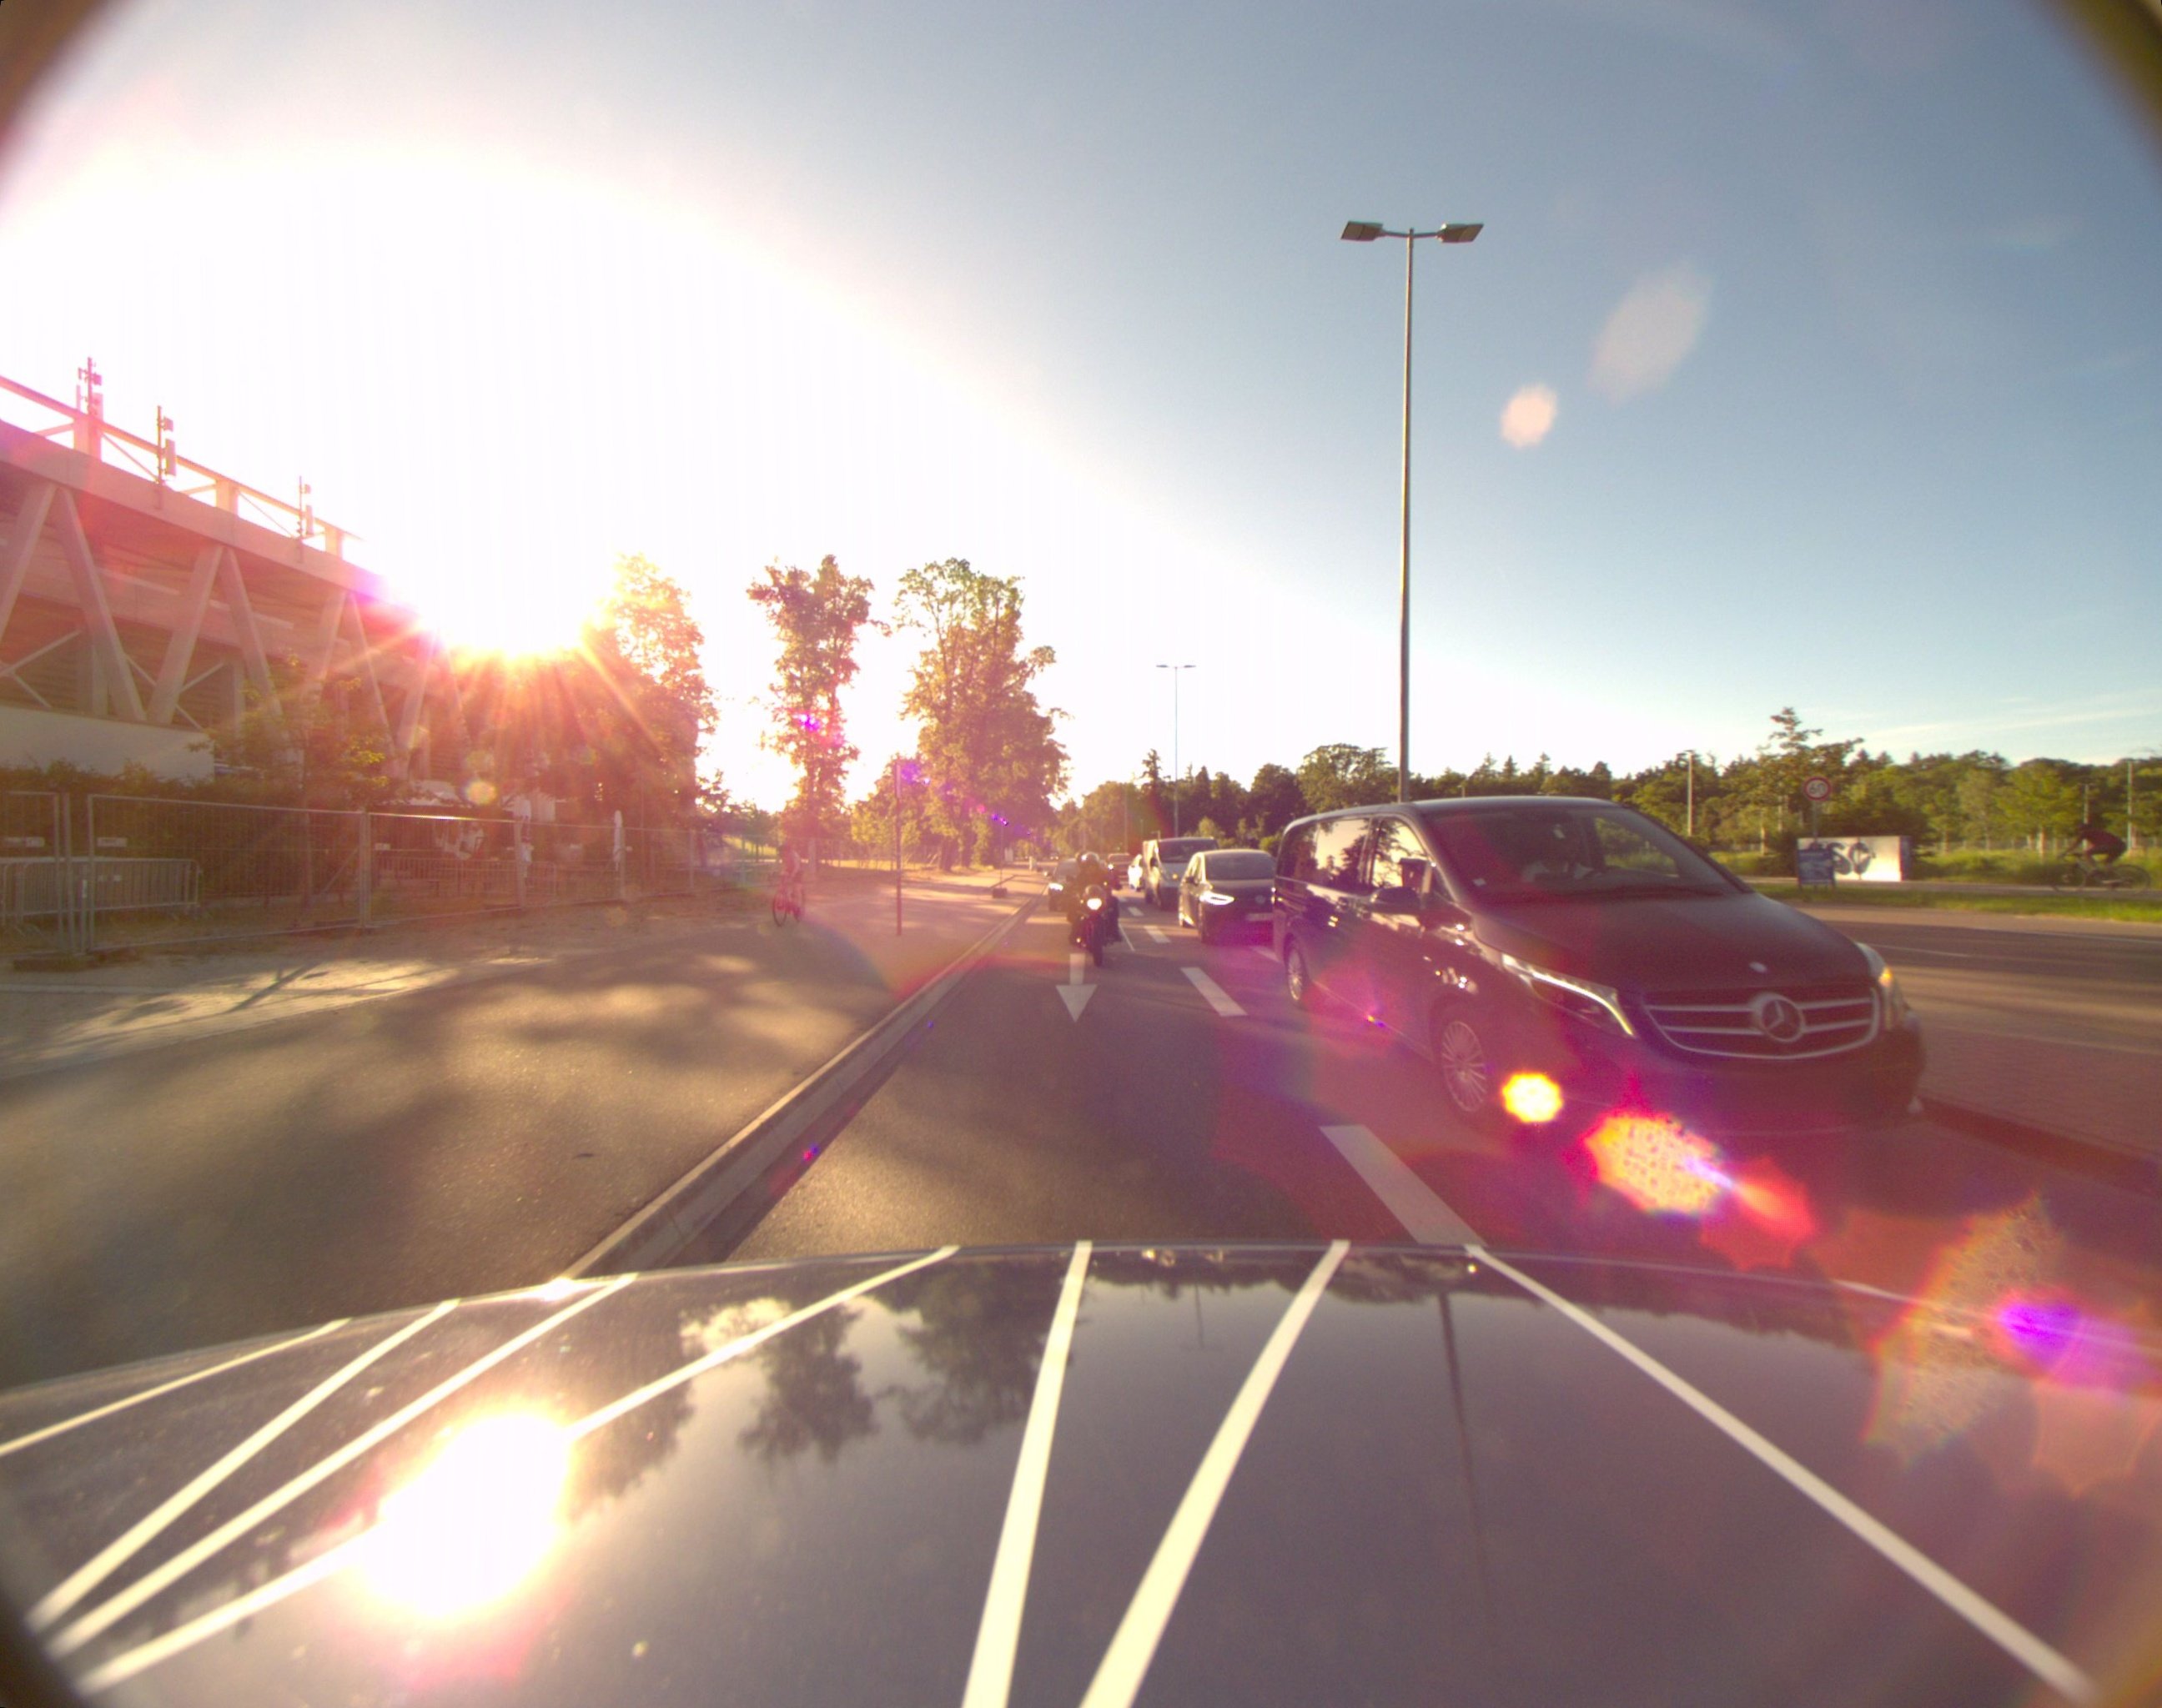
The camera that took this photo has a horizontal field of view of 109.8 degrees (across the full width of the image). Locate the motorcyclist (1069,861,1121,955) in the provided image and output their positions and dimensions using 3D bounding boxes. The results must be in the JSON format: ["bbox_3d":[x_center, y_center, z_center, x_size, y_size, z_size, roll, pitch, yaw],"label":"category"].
[{"bbox_3d":[0.201,0.743,10.854,0.671,1.257,0.826,-2,1,1],"label":"motorcyclist"}]

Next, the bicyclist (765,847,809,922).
[{"bbox_3d":[-5.923,0.603,15.343,0.521,1.460,0.861,1,1,1],"label":"bicyclist"}]

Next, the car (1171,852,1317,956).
[{"bbox_3d":[2.788,0.782,13.919,1.736,1.560,4.103,-2,0,0],"label":"car"}]

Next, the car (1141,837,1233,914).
[{"bbox_3d":[2.921,0.539,22.001,1.867,1.882,5.067,-2,0,0],"label":"car"}]

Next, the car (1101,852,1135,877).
[{"bbox_3d":[2.344,0.650,48.913,1.896,1.389,4.639,-2,1,0],"label":"car"}]

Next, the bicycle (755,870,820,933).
[{"bbox_3d":[-5.924,0.923,15.438,0.555,1.131,1.864,1,1,1],"label":"bicycle"}]

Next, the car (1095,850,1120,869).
[{"bbox_3d":[2.234,0.446,65.588,1.896,1.479,4.639,-2,1,0],"label":"car"}]

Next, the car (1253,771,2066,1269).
[{"bbox_3d":[2.831,0.628,5.537,1.885,1.862,5.234,-2,0,0],"label":"car"}]

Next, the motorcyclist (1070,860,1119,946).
[{"bbox_3d":[0.205,0.734,11.732,0.671,1.257,0.826,-2,1,1],"label":"motorcyclist"}]

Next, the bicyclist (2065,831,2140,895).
[{"bbox_3d":[22.996,0.197,17.122,0.593,1.405,0.800,-2,1,2],"label":"bicyclist"}]

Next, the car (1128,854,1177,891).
[{"bbox_3d":[2.985,0.724,32.444,1.605,1.389,4.639,-2,1,0],"label":"car"}]

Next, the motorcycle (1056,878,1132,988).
[{"bbox_3d":[0.186,1.036,11.030,0.916,1.243,2.962,-2,0,1],"label":"motorcycle"}]

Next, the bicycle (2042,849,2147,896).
[{"bbox_3d":[23.075,0.402,17.326,0.584,1.013,1.362,-2,1,1],"label":"bicycle"}]

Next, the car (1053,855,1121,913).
[{"bbox_3d":[0.160,0.845,23.725,1.867,1.538,4.795,-2,0,0],"label":"car"}]
